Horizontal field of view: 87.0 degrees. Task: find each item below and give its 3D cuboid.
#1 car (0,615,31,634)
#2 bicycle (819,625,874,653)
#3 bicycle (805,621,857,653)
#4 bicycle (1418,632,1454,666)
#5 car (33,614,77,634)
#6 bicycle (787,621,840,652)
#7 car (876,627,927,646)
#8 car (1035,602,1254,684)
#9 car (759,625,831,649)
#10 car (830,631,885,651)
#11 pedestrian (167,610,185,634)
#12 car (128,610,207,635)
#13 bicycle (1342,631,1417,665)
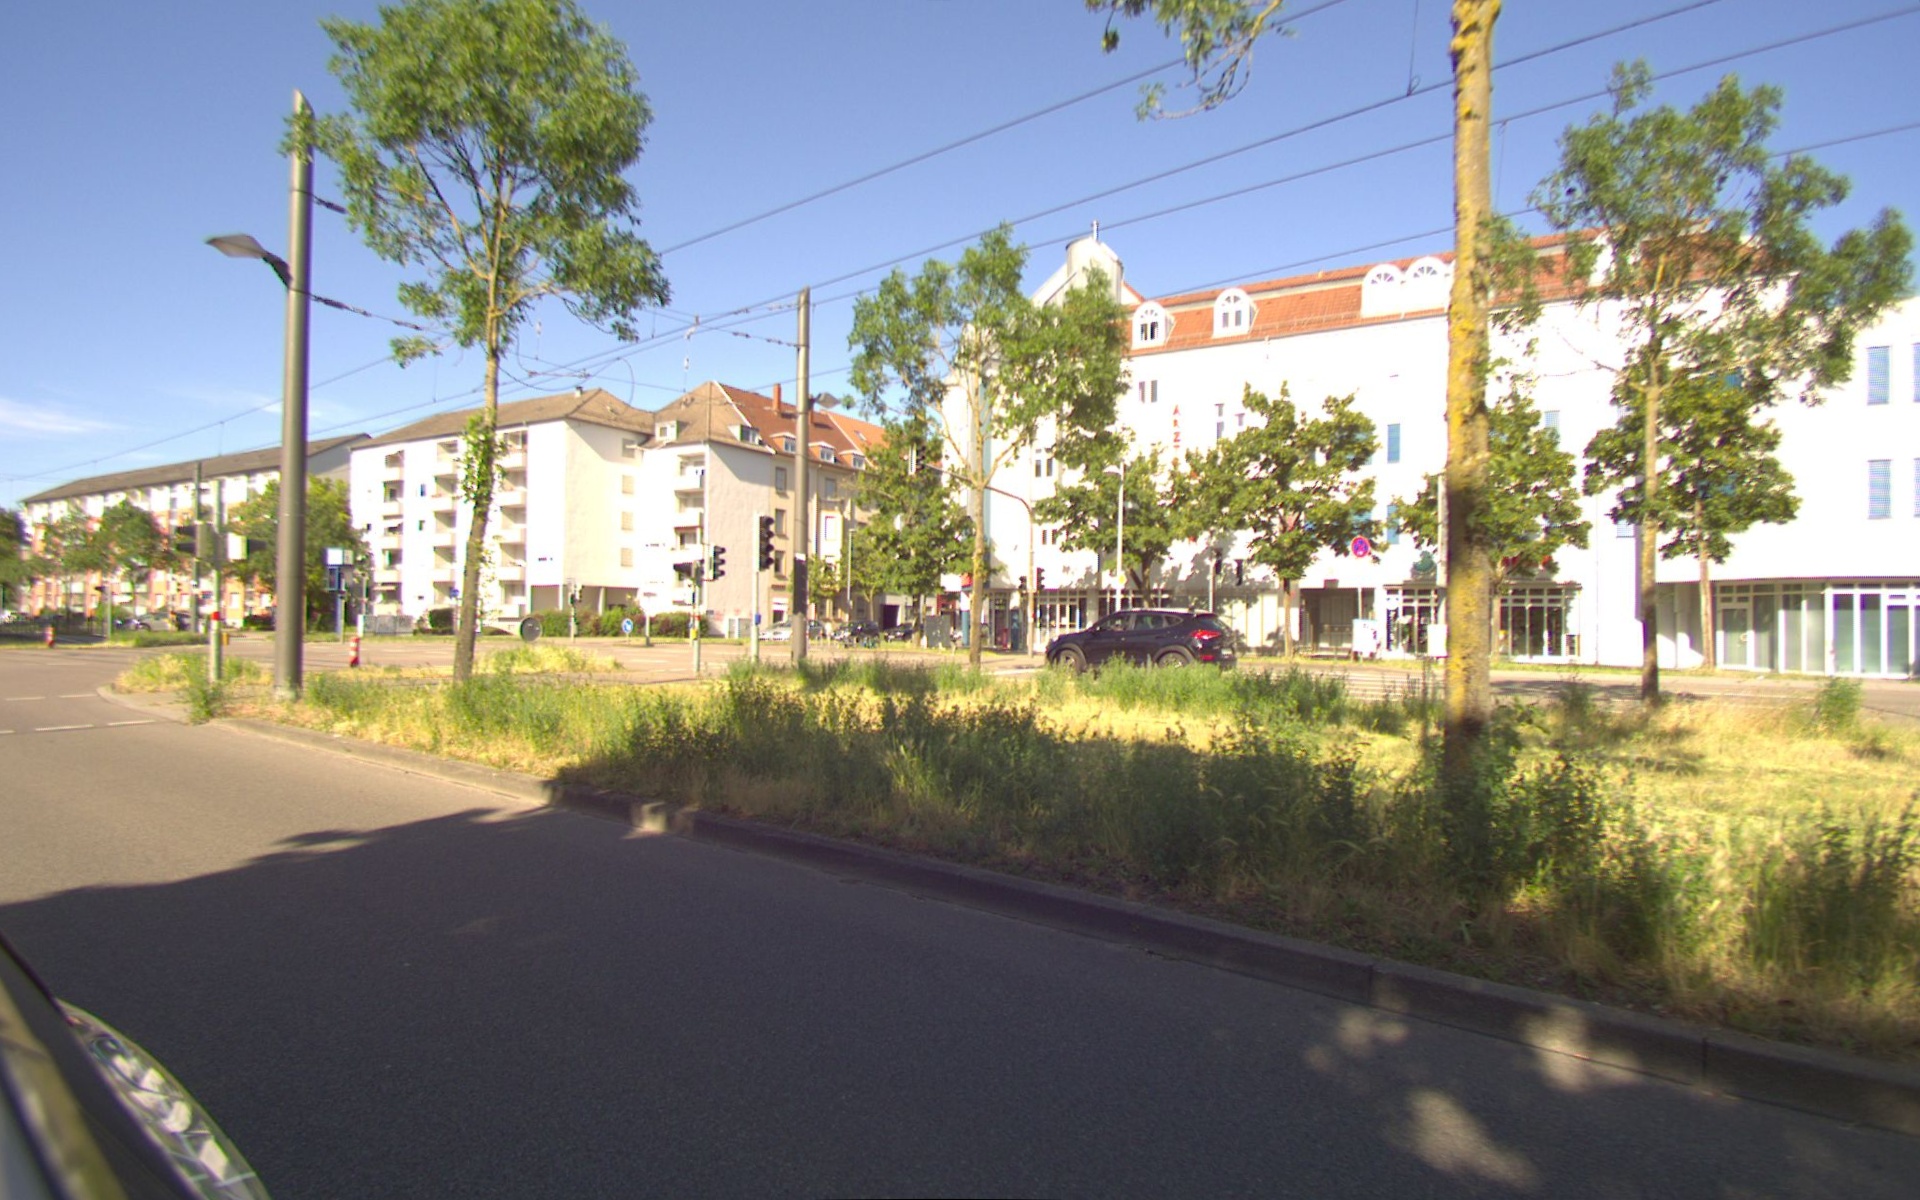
[{"bbox_3d":[-88.167,2.311,93.959,4.226,1.723,1.676,-1,-2,31],"label":"car"},{"bbox_3d":[-4.757,1.635,42.559,0.782,1.168,2.549,-1,-2,35],"label":"bicycle"},{"bbox_3d":[-5.473,1.558,43.178,0.661,1.319,2.549,-1,-2,35],"label":"bicycle"},{"bbox_3d":[17.943,1.823,38.117,0.718,1.222,2.520,-1,-2,37],"label":"bicycle"},{"bbox_3d":[-79.168,2.133,88.534,4.226,1.723,1.676,-1,-2,31],"label":"car"},{"bbox_3d":[-6.318,1.567,43.809,0.661,1.319,2.549,-1,-2,35],"label":"bicycle"},{"bbox_3d":[-4.188,2.602,72.949,1.696,1.320,4.047,-1,-2,30],"label":"car"},{"bbox_3d":[4.034,0.922,22.528,4.482,1.653,1.802,-1,-2,38],"label":"car"},{"bbox_3d":[-10.263,2.304,63.183,2.325,1.476,4.146,-1,-2,30],"label":"car"},{"bbox_3d":[-6.906,2.745,68.643,1.696,1.320,4.047,-1,-2,30],"label":"car"},{"bbox_3d":[-55.527,1.579,71.694,0.701,1.724,0.778,-1,-2,31],"label":"pedestrian"},{"bbox_3d":[-56.515,1.603,72.256,4.168,1.723,1.699,1,-2,-28],"label":"car"},{"bbox_3d":[15.888,1.797,38.363,2.548,1.222,0.710,-1,-2,37],"label":"bicycle"}]
